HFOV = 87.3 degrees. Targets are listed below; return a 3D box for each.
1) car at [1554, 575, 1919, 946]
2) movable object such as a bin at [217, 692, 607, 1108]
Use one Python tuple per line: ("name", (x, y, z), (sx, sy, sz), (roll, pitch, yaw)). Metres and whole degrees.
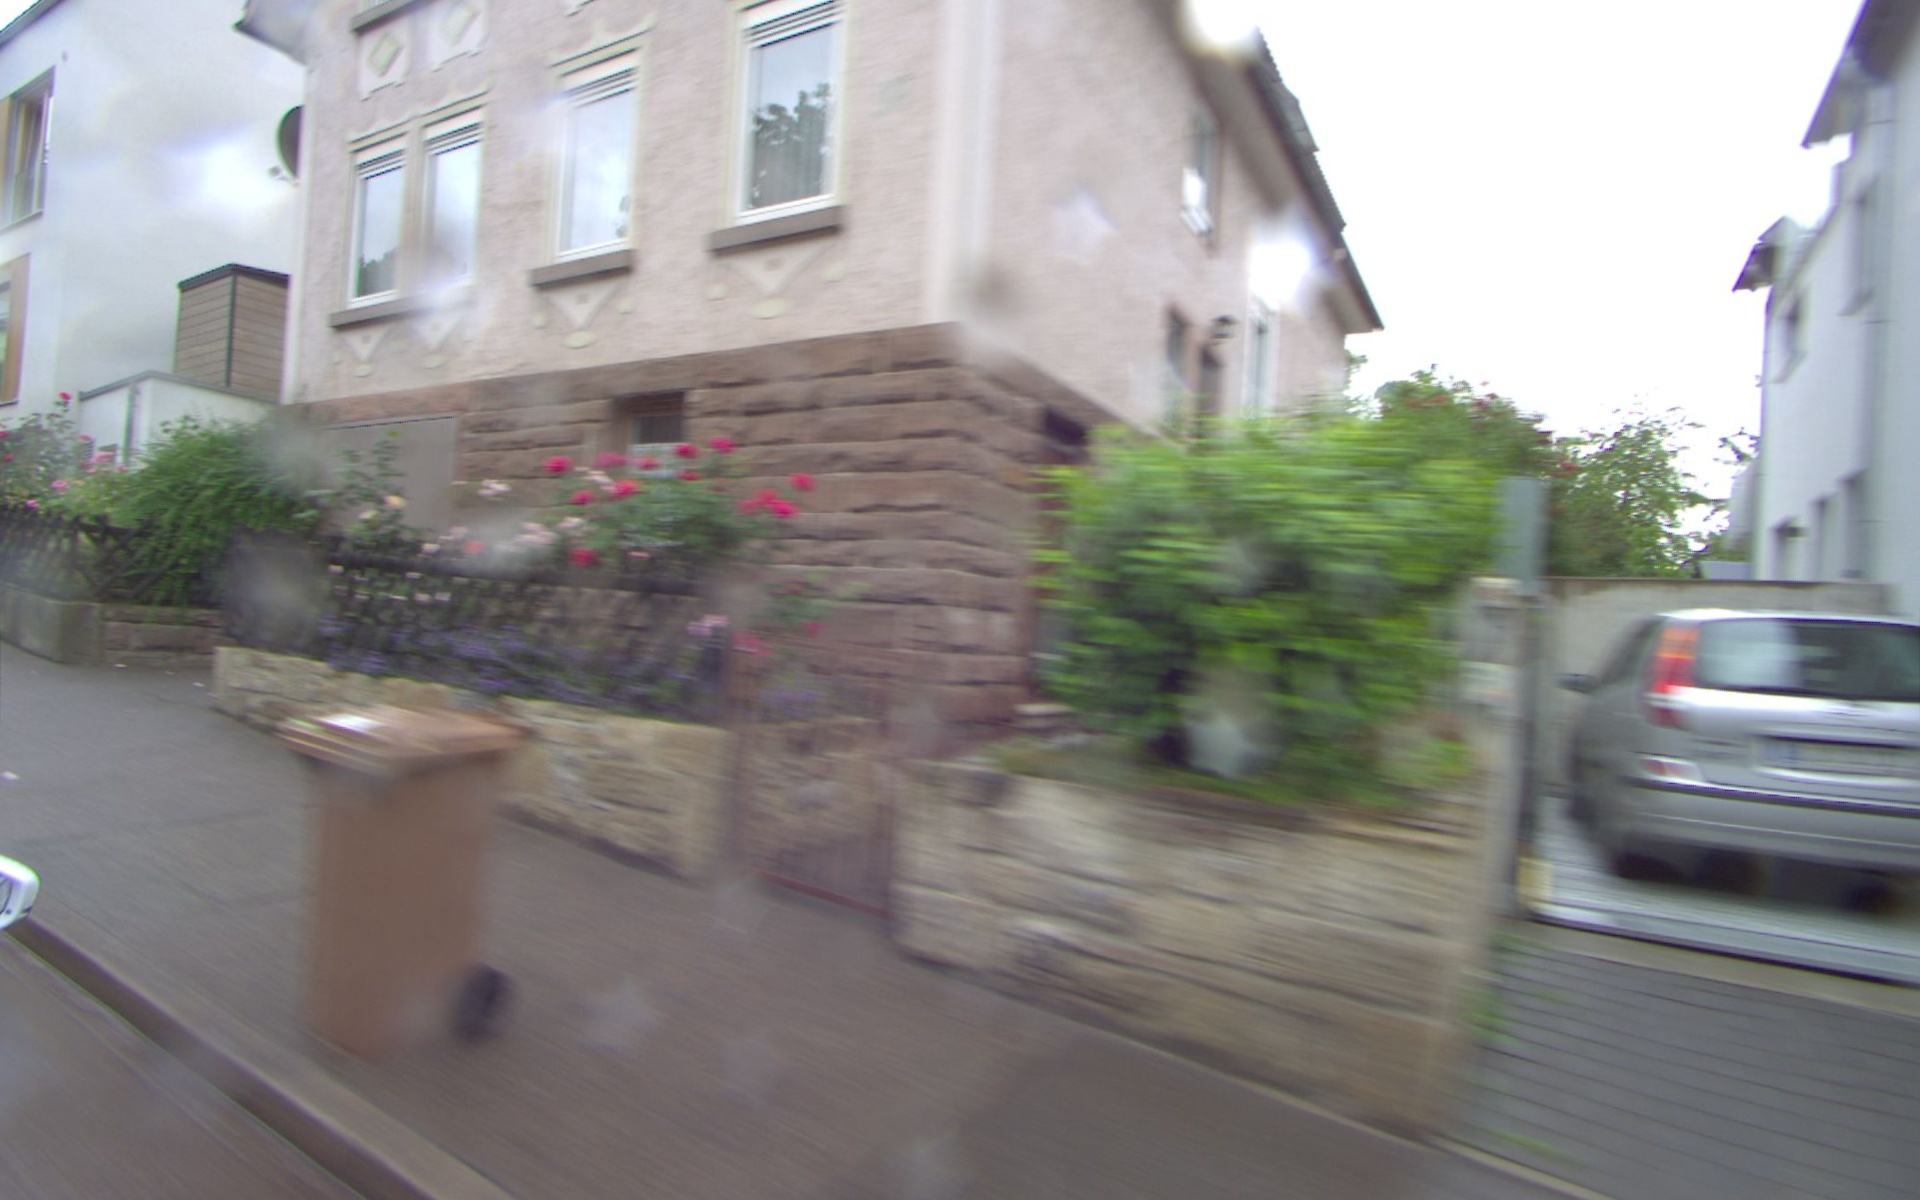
("car", (5.125, 0.929, 6.549), (1.781, 1.605, 3.997), (7, -1, 28))
("movable object such as a bin", (-1.553, 0.768, 2.881), (0.700, 0.908, 0.631), (7, -1, 31))
